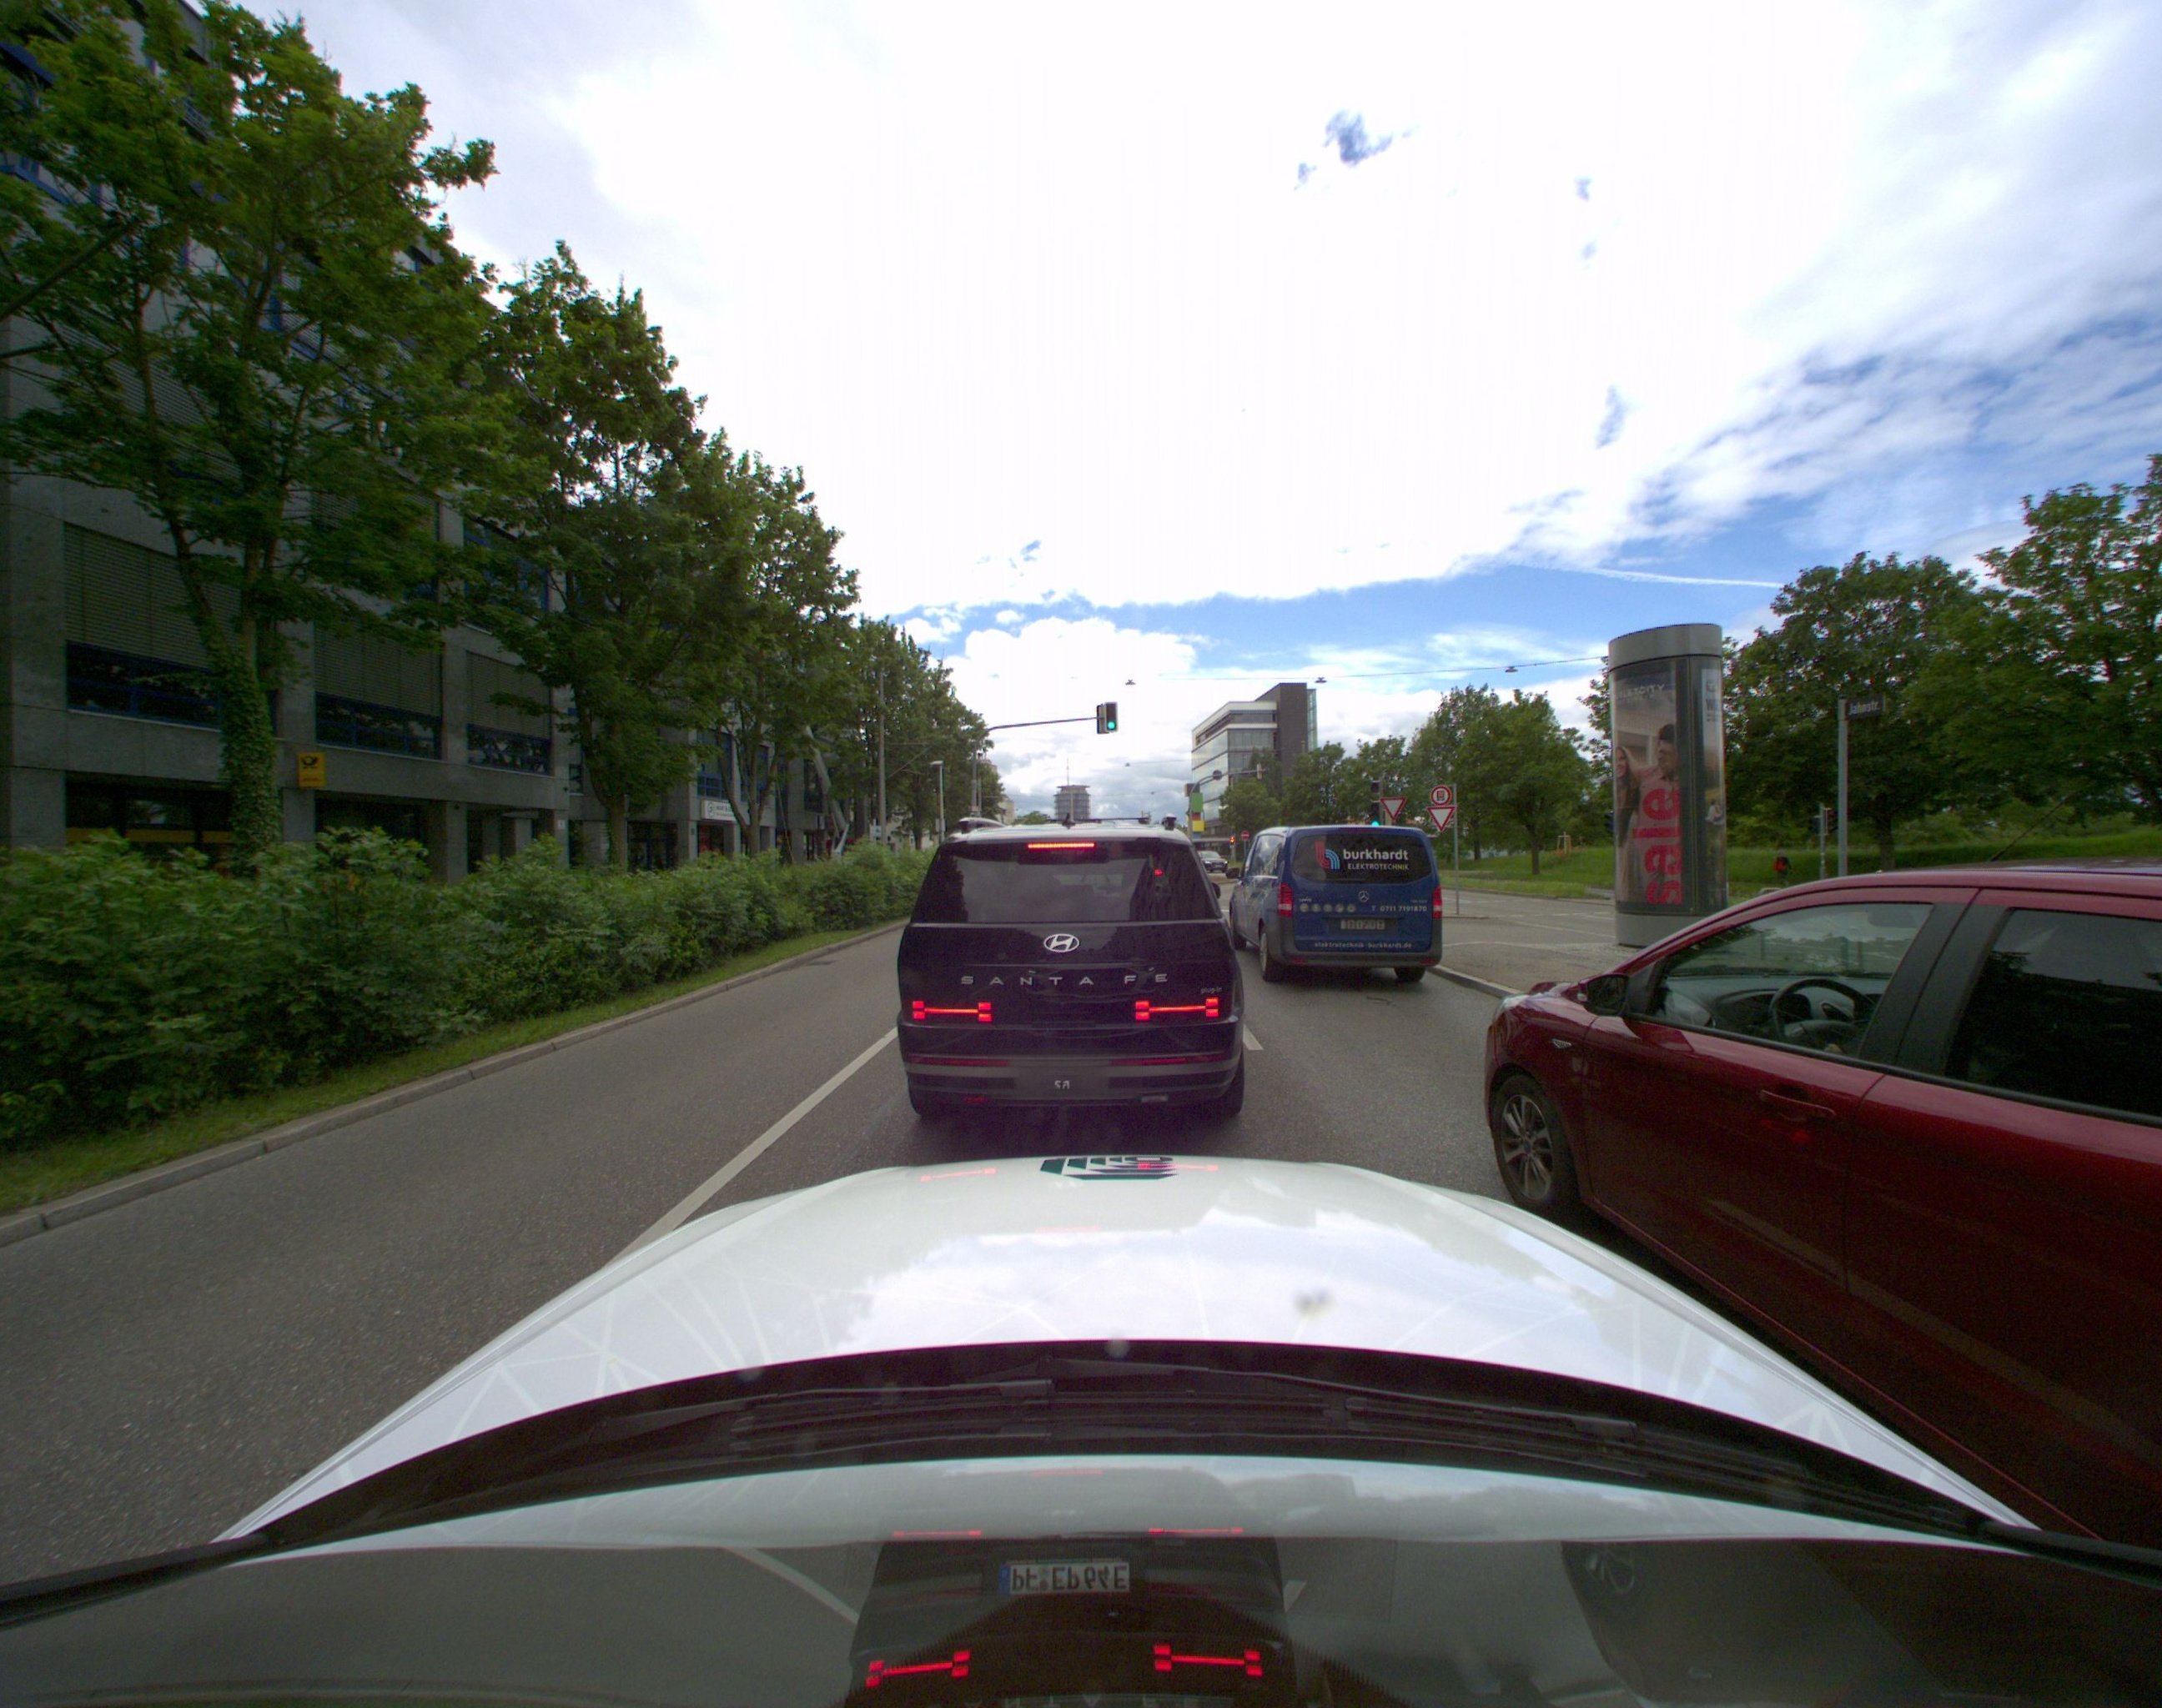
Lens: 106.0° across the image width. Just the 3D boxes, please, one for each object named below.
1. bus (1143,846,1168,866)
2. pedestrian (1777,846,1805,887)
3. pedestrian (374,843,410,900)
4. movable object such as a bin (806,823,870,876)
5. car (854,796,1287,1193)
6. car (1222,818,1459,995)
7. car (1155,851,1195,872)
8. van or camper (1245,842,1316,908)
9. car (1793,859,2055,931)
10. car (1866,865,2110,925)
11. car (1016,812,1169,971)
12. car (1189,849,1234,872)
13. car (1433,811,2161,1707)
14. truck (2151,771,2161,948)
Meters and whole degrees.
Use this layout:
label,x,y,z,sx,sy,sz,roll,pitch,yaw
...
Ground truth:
label,x,y,z,sx,sy,sz,roll,pitch,yaw
bus,12.126,0.338,133.174,2.958,3.116,9.238,-2,-1,-1
pedestrian,28.669,0.500,32.891,0.537,1.604,0.705,-5,1,17
pedestrian,-16.496,0.403,19.506,0.364,1.334,0.558,2,0,-3
movable object such as a bin,-12.248,-0.211,41.336,1.898,2.531,4.128,0,0,1
car,0.024,0.610,5.812,1.895,1.731,4.448,0,0,2
car,3.146,0.549,10.969,1.894,1.859,4.713,0,0,3
car,6.710,0.504,58.648,1.782,1.425,4.382,0,1,-9
van or camper,6.231,0.574,25.874,1.981,1.917,4.423,0,1,11
car,21.667,0.978,21.249,1.850,1.529,4.472,0,1,-11
car,24.984,1.058,22.681,1.984,1.442,4.143,0,0,-11
car,0.388,0.459,12.489,1.892,1.969,4.644,0,0,6
car,9.526,0.469,59.926,1.889,1.564,4.380,0,1,-11
car,2.629,0.669,2.259,1.739,1.481,3.718,0,0,0
truck,26.224,0.155,13.886,2.821,3.925,9.420,0,0,-12
